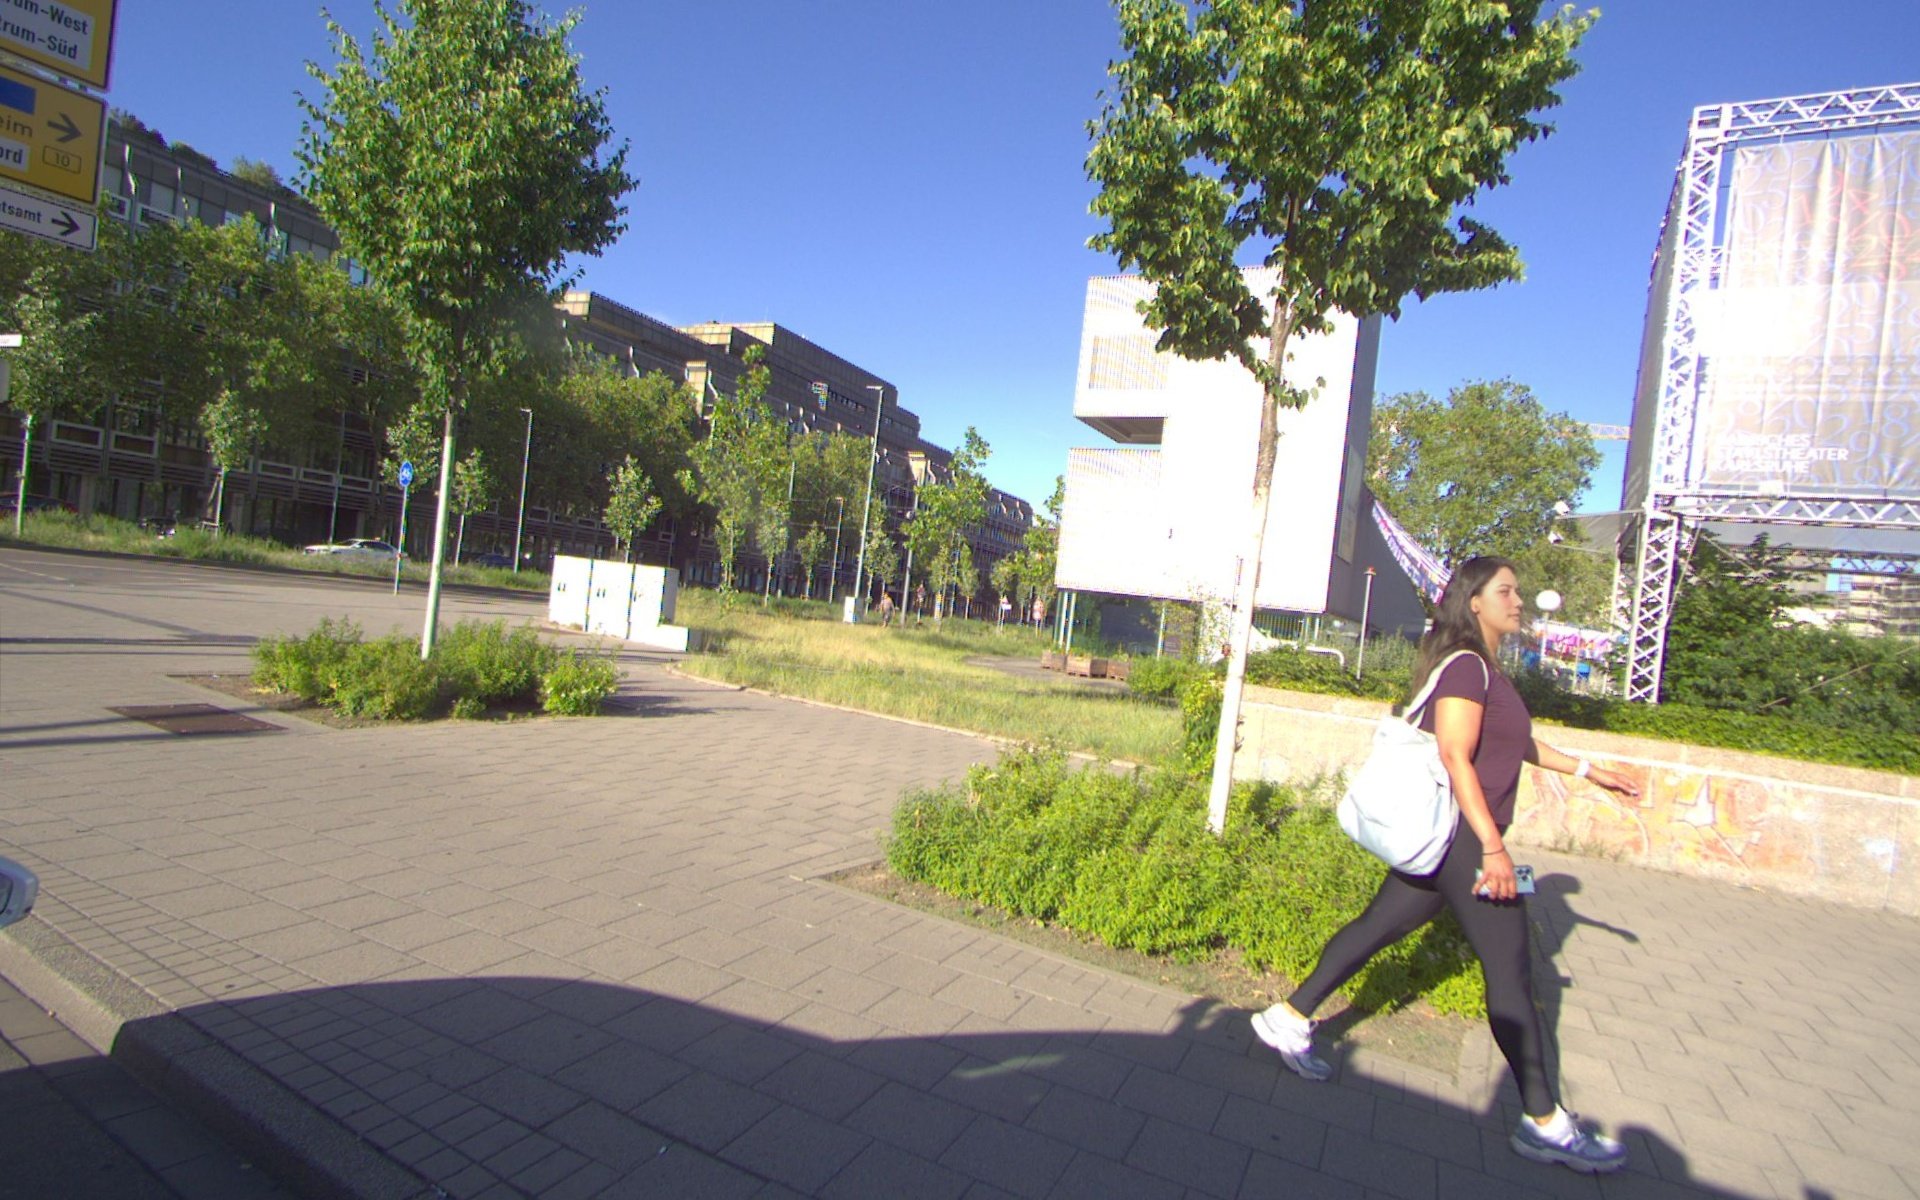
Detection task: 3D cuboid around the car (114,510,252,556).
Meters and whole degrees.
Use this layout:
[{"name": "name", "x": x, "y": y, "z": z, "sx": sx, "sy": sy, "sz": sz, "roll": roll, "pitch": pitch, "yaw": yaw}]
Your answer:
[{"name": "car", "x": -36.376, "y": -3.103, "z": 47.230, "sx": 1.965, "sy": 1.373, "sz": 4.641, "roll": 8, "pitch": 0, "yaw": 27}]

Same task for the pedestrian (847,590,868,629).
[{"name": "pedestrian", "x": -4.366, "y": 0.391, "z": 42.884, "sx": 0.513, "sy": 1.591, "sz": 0.620, "roll": 7, "pitch": 1, "yaw": 23}]

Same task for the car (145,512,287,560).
[{"name": "car", "x": -33.404, "y": -2.856, "z": 45.318, "sx": 1.965, "sy": 1.373, "sz": 4.641, "roll": 8, "pitch": 0, "yaw": 27}]

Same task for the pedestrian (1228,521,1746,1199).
[{"name": "pedestrian", "x": 1.606, "y": 0.693, "z": 3.156, "sx": 0.817, "sy": 1.771, "sz": 1.031, "roll": 5, "pitch": 1, "yaw": -37}]

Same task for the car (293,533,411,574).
[{"name": "car", "x": -30.537, "y": -2.313, "z": 50.700, "sx": 1.965, "sy": 1.373, "sz": 4.641, "roll": 8, "pitch": 0, "yaw": 27}]

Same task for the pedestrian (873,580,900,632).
[{"name": "pedestrian", "x": -3.012, "y": 0.258, "z": 41.092, "sx": 0.669, "sy": 2.039, "sz": 0.620, "roll": 7, "pitch": 1, "yaw": 23}]

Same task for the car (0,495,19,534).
[{"name": "car", "x": -37.775, "y": -3.461, "z": 36.666, "sx": 1.965, "sy": 1.373, "sz": 4.641, "roll": 8, "pitch": 0, "yaw": 27}]

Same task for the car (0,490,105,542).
[{"name": "car", "x": -33.283, "y": -3.095, "z": 35.203, "sx": 1.965, "sy": 1.373, "sz": 4.641, "roll": 8, "pitch": 0, "yaw": 27}]
